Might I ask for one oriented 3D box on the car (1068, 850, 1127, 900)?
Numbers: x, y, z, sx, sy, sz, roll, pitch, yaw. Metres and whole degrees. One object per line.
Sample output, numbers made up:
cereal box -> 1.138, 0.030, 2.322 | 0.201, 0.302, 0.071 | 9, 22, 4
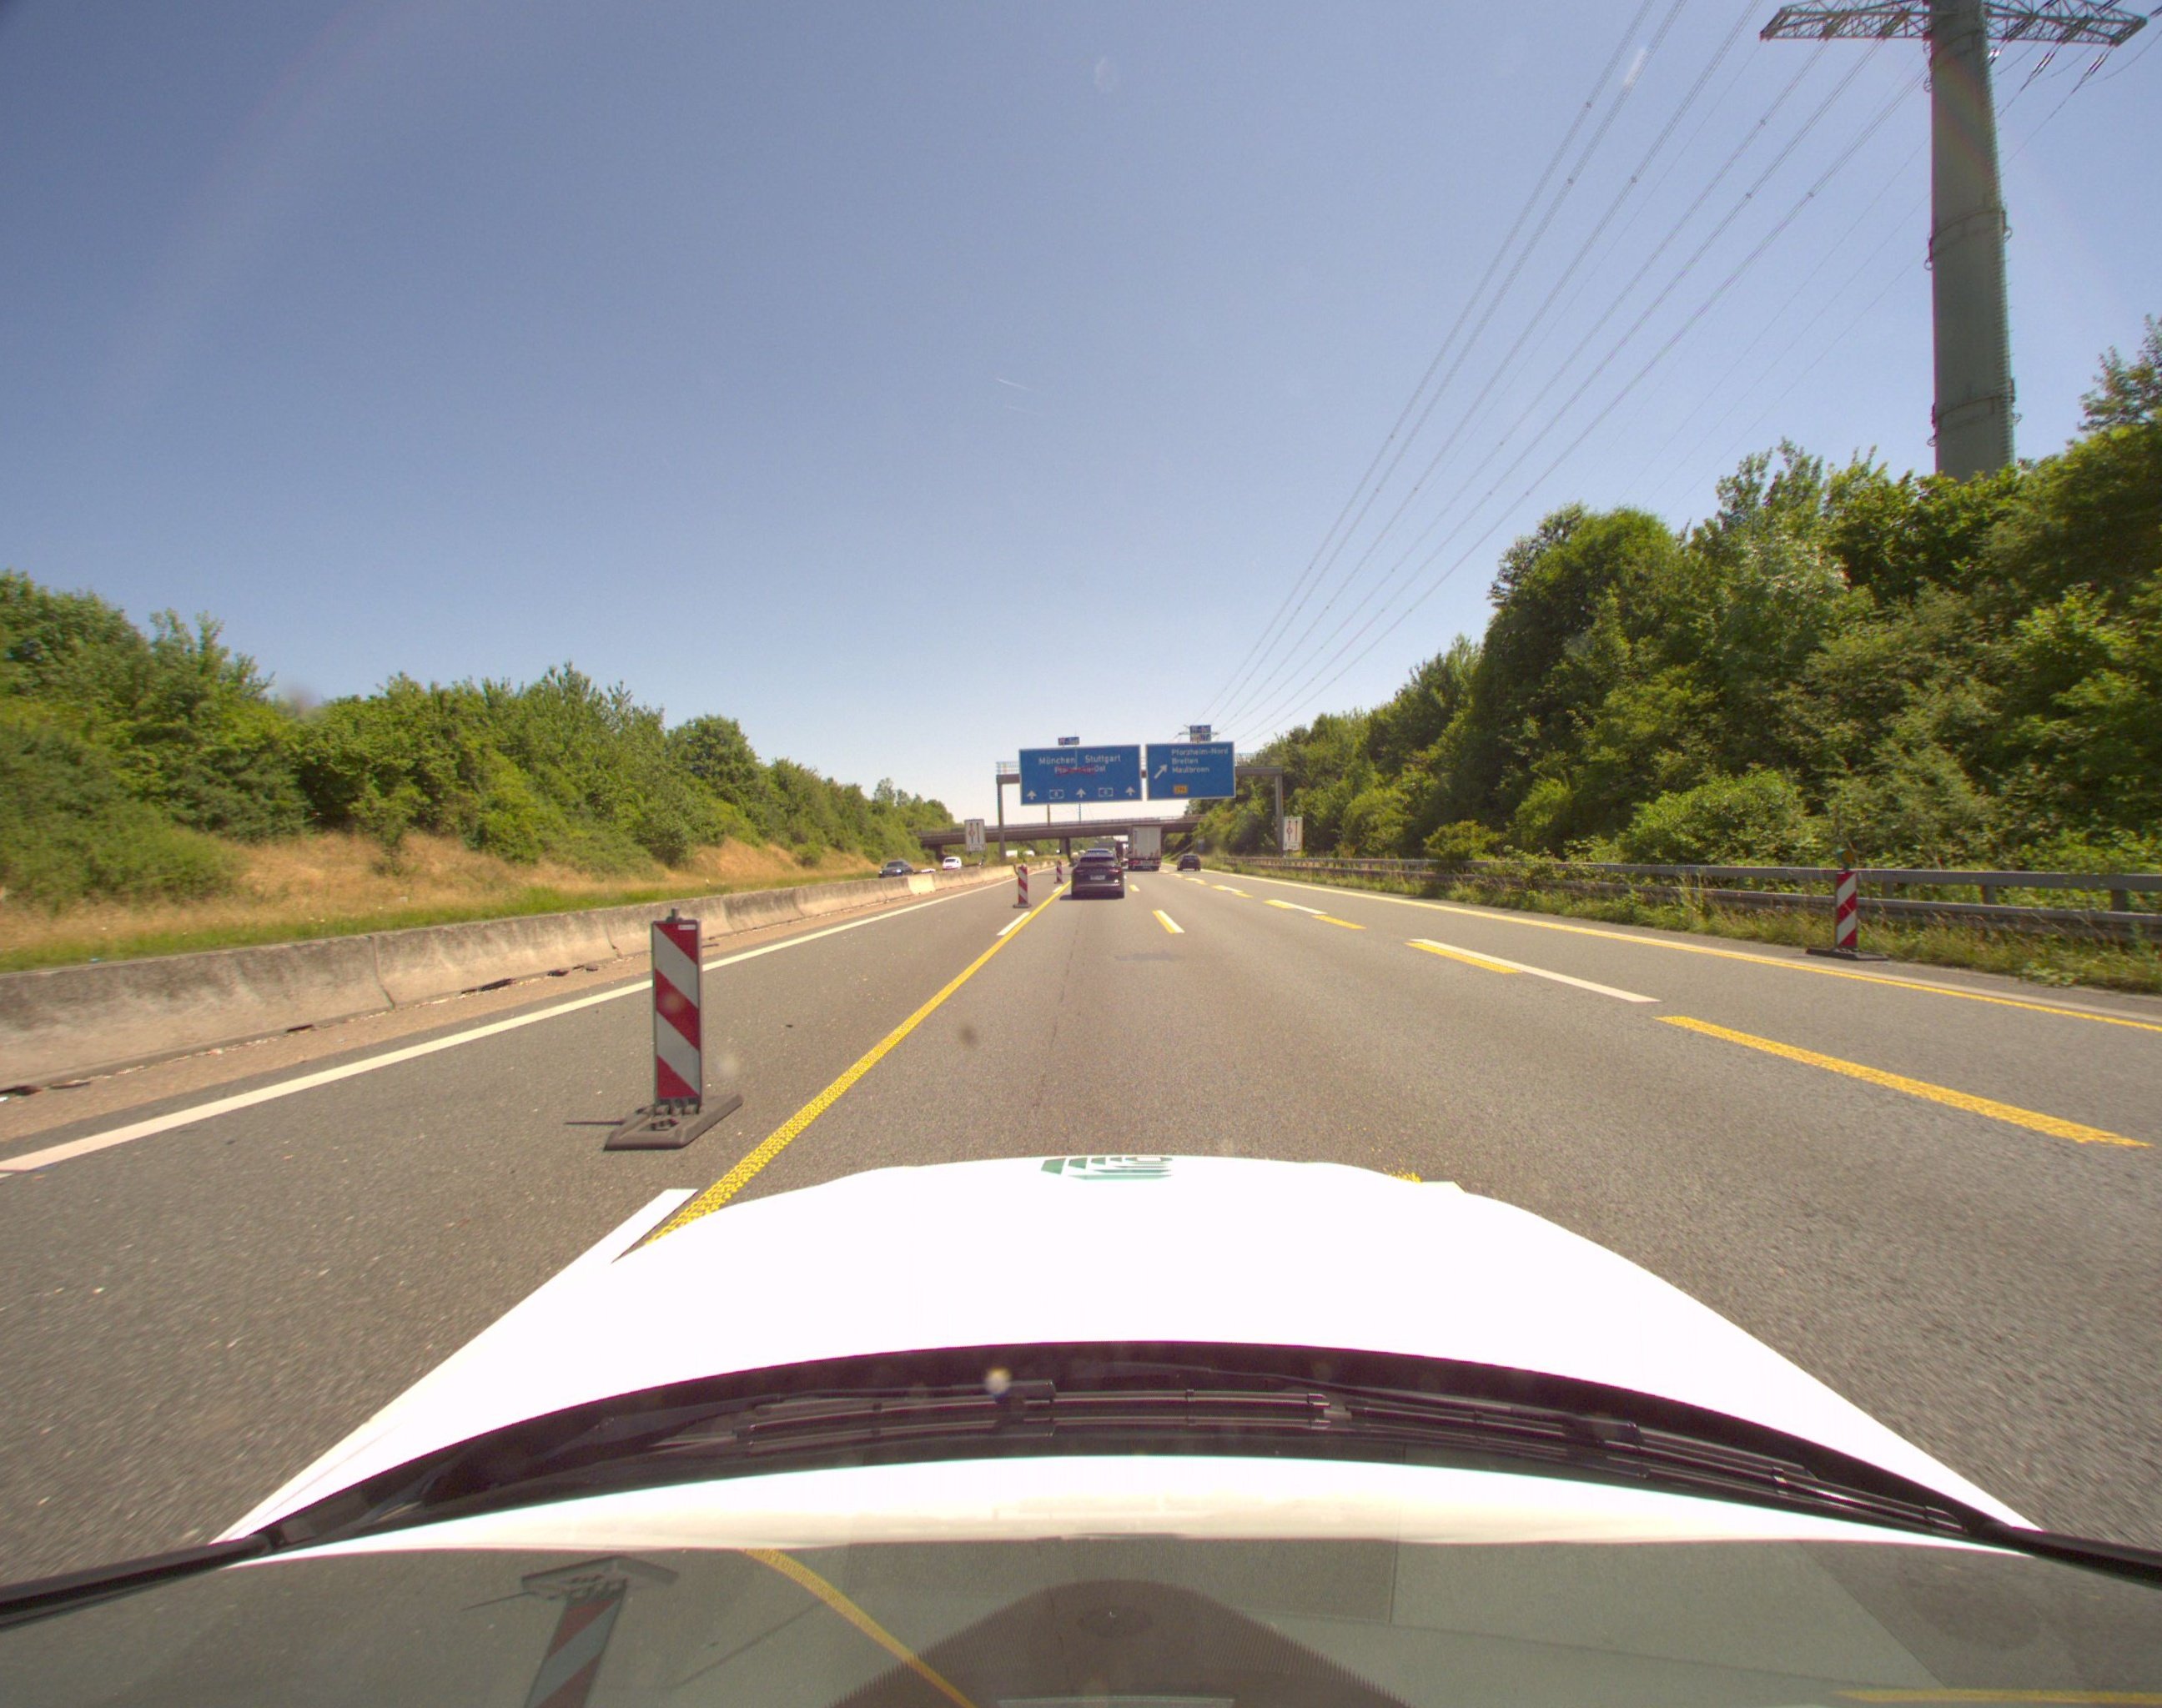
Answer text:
car -> 0.562, 0.693, 29.231 | 1.889, 1.592, 4.442 | -2, 0, 0

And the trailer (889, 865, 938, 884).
trailer -> -13.943, 1.665, 68.259 | 2.348, 1.344, 7.218 | -2, 0, 1

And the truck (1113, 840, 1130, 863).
truck -> 7.723, -0.464, 156.151 | 3.065, 4.146, 13.062 | 0, 0, 3

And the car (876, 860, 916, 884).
car -> -14.096, 1.335, 62.344 | 1.906, 1.753, 4.566 | 0, 0, 1

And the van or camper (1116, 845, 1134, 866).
van or camper -> 6.448, 0.151, 119.752 | 2.576, 2.968, 6.088 | 0, 0, 2

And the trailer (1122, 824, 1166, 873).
trailer -> 5.640, -0.471, 75.100 | 3.055, 4.042, 11.485 | -1, 0, 0

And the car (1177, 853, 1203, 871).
car -> 9.468, 0.708, 71.287 | 1.773, 1.489, 4.465 | 0, 0, 1

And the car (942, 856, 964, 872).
car -> -16.782, 1.283, 107.005 | 1.924, 2.013, 5.597 | -2, 0, 1

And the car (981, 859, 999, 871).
car -> -13.361, 1.640, 119.884 | 1.866, 1.694, 4.499 | -2, 0, 2

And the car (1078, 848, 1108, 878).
car -> 0.806, 0.584, 55.620 | 1.889, 1.841, 4.443 | 2, 2, 0

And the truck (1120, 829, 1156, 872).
truck -> 5.659, -0.371, 81.790 | 3.015, 4.087, 7.794 | -1, 0, 0
